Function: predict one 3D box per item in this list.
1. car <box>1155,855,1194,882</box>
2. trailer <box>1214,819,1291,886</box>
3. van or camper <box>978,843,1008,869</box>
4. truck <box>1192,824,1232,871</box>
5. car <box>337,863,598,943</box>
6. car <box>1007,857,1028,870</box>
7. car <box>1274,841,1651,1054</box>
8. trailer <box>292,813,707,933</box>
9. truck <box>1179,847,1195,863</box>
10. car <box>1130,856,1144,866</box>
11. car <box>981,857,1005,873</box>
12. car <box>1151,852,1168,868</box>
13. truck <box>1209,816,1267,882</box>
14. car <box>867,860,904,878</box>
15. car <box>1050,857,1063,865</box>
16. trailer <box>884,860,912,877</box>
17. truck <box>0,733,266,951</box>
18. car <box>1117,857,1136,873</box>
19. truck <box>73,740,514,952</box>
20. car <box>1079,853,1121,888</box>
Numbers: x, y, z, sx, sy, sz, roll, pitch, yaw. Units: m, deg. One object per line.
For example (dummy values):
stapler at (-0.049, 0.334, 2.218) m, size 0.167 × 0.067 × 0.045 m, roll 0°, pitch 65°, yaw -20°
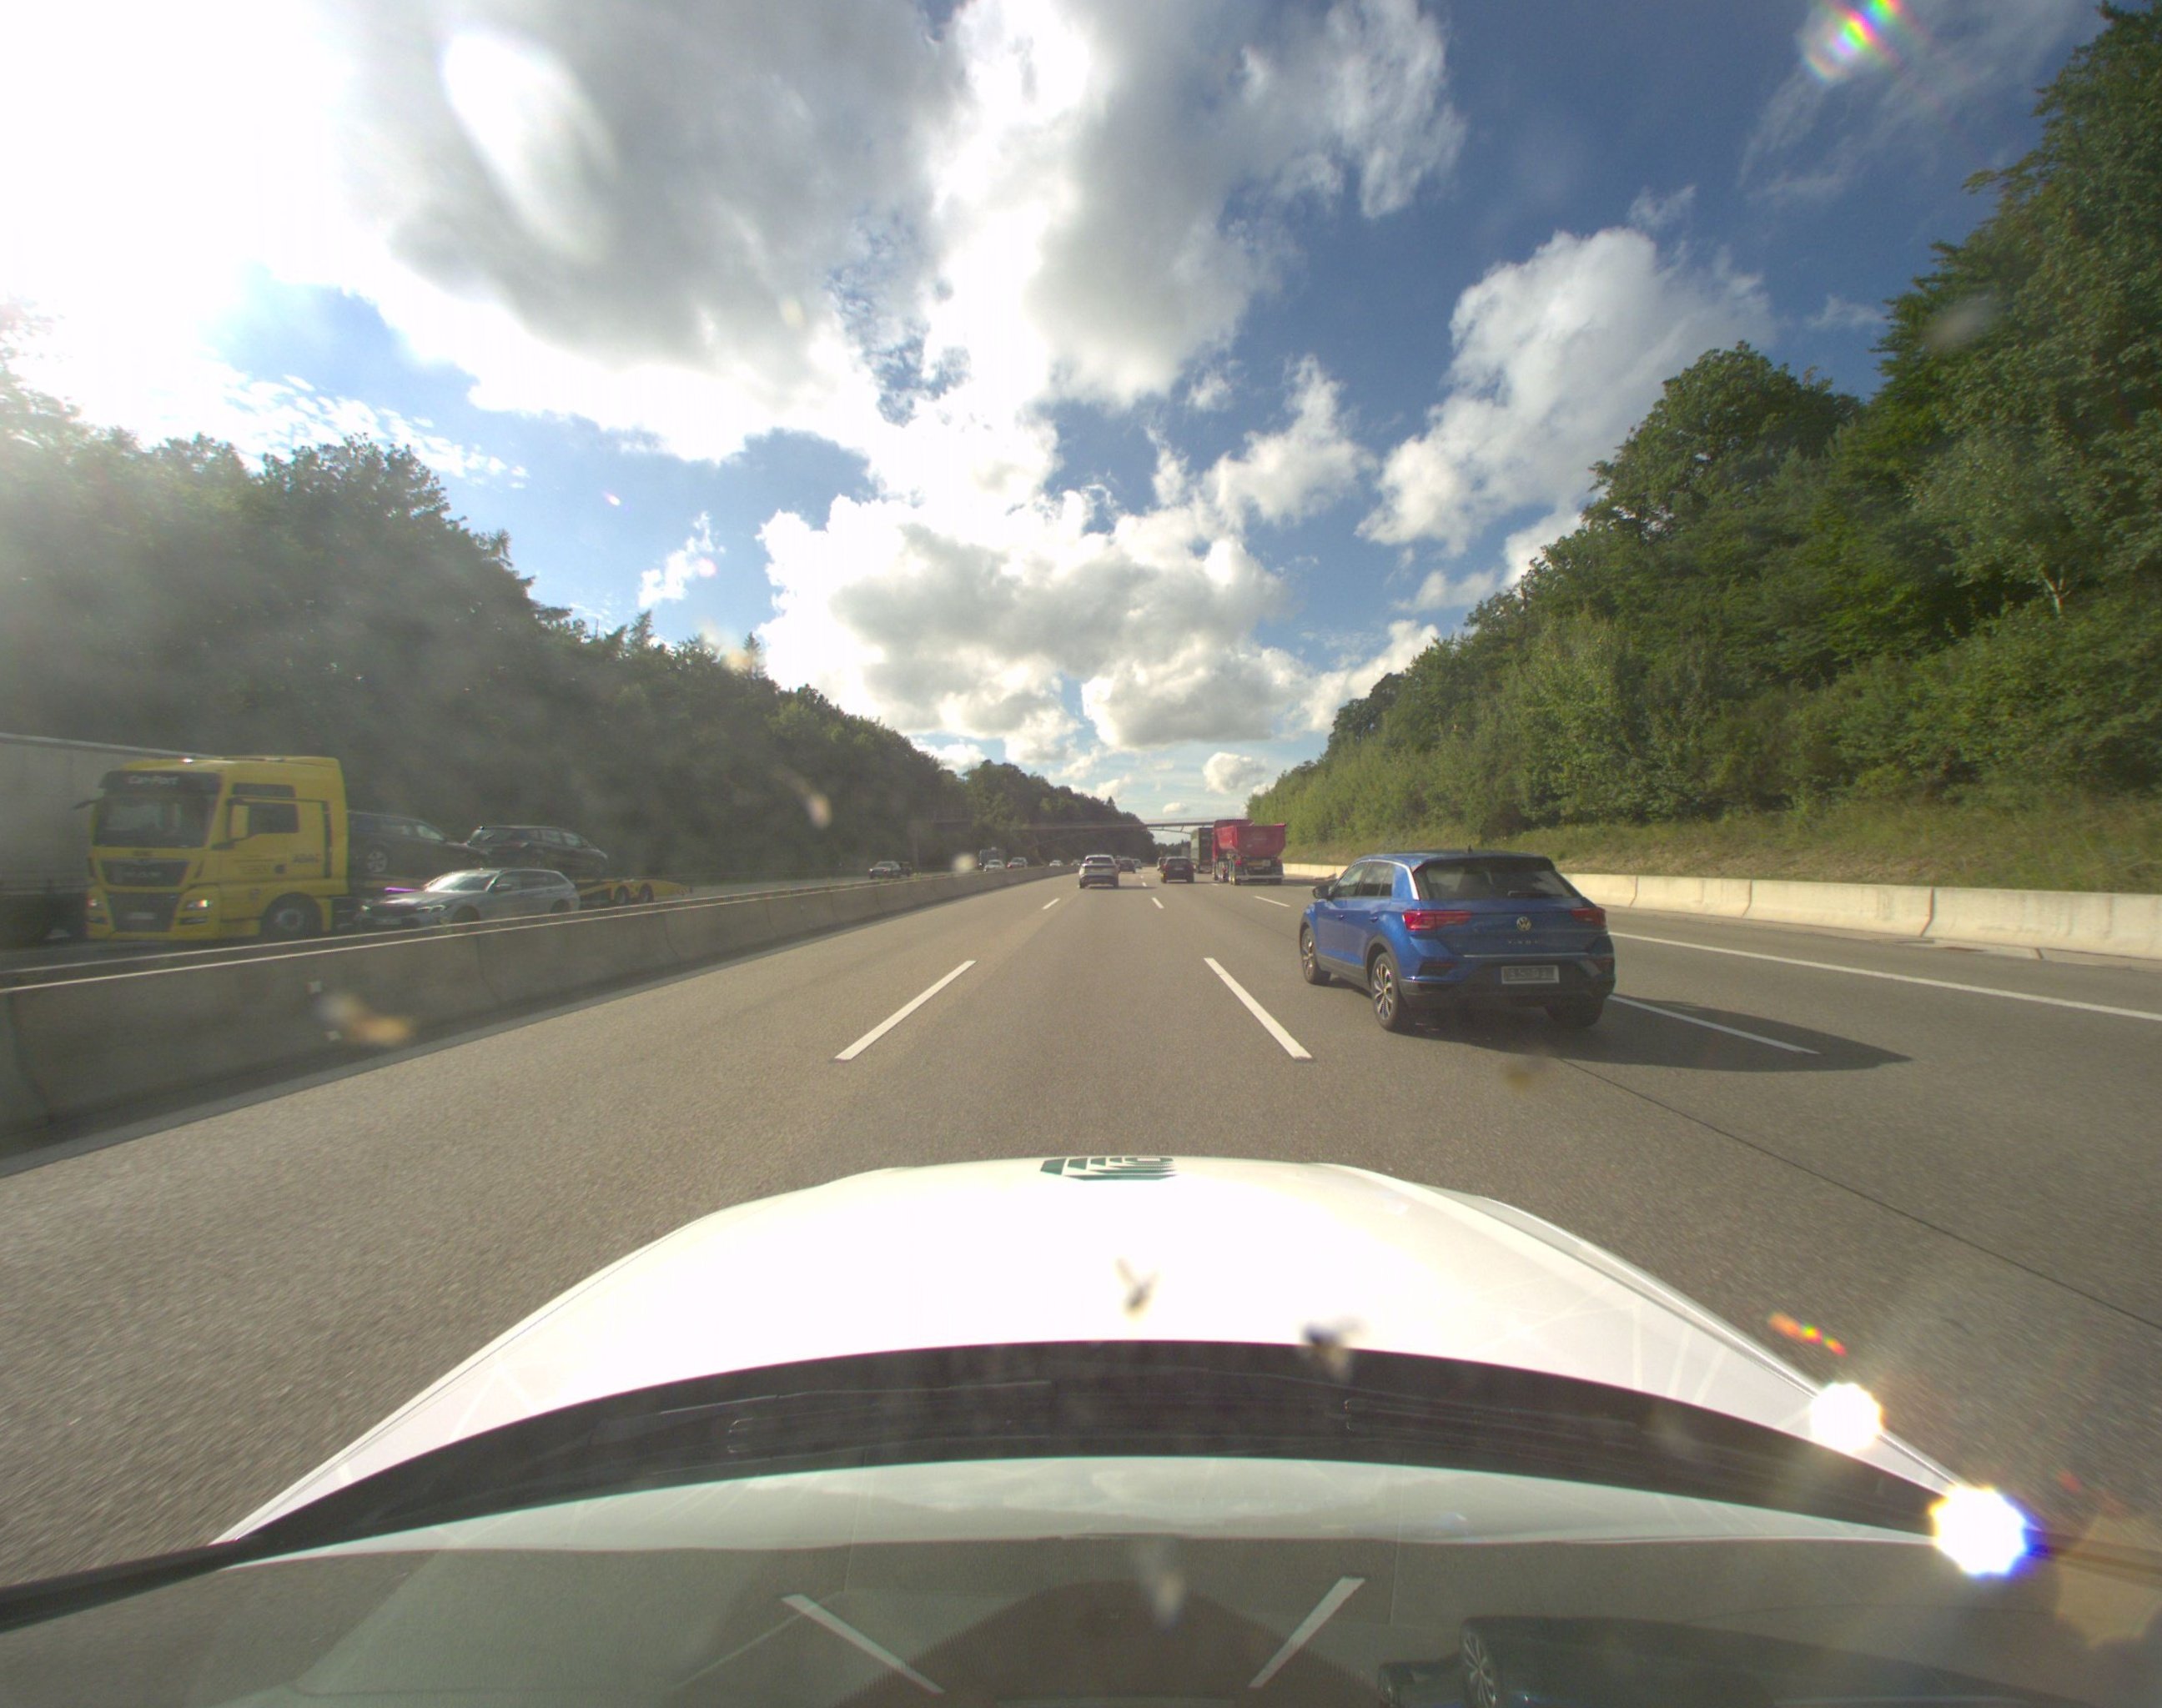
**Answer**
car at (5.349, 0.812, 46.907) m, size 1.816 × 1.457 × 4.000 m, roll -1°, pitch 0°, yaw 1°
trailer at (9.159, -0.056, 44.584) m, size 2.698 × 3.231 × 9.741 m, roll -1°, pitch 0°, yaw 3°
van or camper at (-11.164, 0.290, 103.729) m, size 2.548 × 3.125 × 7.340 m, roll -1°, pitch 0°, yaw 3°
truck at (11.742, -0.514, 73.978) m, size 3.102 × 3.935 × 10.430 m, roll -1°, pitch 0°, yaw 7°
car at (-13.388, 0.984, 18.293) m, size 1.986 × 1.486 × 4.984 m, roll -1°, pitch 0°, yaw 1°
car at (-7.653, 1.137, 98.798) m, size 1.914 × 1.540 × 4.706 m, roll -1°, pitch 0°, yaw 3°
car at (3.388, 0.696, 8.332) m, size 1.767 × 1.530 × 4.458 m, roll -2°, pitch 0°, yaw 1°
trailer at (-16.444, 0.451, 25.394) m, size 2.765 × 2.720 × 13.323 m, roll -1°, pitch 0°, yaw 3°
truck at (20.520, 0.193, 157.544) m, size 2.829 × 2.925 × 8.404 m, roll -1°, pitch 0°, yaw 8°
car at (8.271, 1.048, 120.202) m, size 1.813 × 1.457 × 4.006 m, roll -1°, pitch 0°, yaw 6°
car at (-9.081, 1.109, 84.598) m, size 1.807 × 1.535 × 4.319 m, roll -1°, pitch 0°, yaw 3°
car at (9.384, 0.654, 97.214) m, size 1.886 × 1.857 × 4.104 m, roll -1°, pitch 0°, yaw 3°
truck at (9.424, -0.298, 49.498) m, size 2.698 × 3.718 × 5.822 m, roll -1°, pitch 0°, yaw 3°
car at (-16.345, 1.253, 68.287) m, size 1.806 × 1.390 × 4.937 m, roll -1°, pitch 0°, yaw 1°
car at (-4.110, 1.167, 137.209) m, size 1.837 × 1.296 × 4.262 m, roll -1°, pitch 0°, yaw 3°
trailer at (-16.285, 1.241, 72.641) m, size 1.653 × 1.413 × 3.711 m, roll -1°, pitch 0°, yaw 1°
truck at (-21.549, -0.213, 13.450) m, size 2.696 × 4.068 × 13.093 m, roll -1°, pitch 0°, yaw 2°
car at (4.527, 1.040, 80.578) m, size 1.814 × 1.546 × 4.005 m, roll 0°, pitch 0°, yaw 4°
truck at (-16.837, -0.140, 18.390) m, size 2.765 × 3.810 × 7.140 m, roll -1°, pitch 0°, yaw 3°
car at (1.016, 0.779, 41.426) m, size 1.998 × 1.616 × 5.303 m, roll -1°, pitch 0°, yaw 2°
